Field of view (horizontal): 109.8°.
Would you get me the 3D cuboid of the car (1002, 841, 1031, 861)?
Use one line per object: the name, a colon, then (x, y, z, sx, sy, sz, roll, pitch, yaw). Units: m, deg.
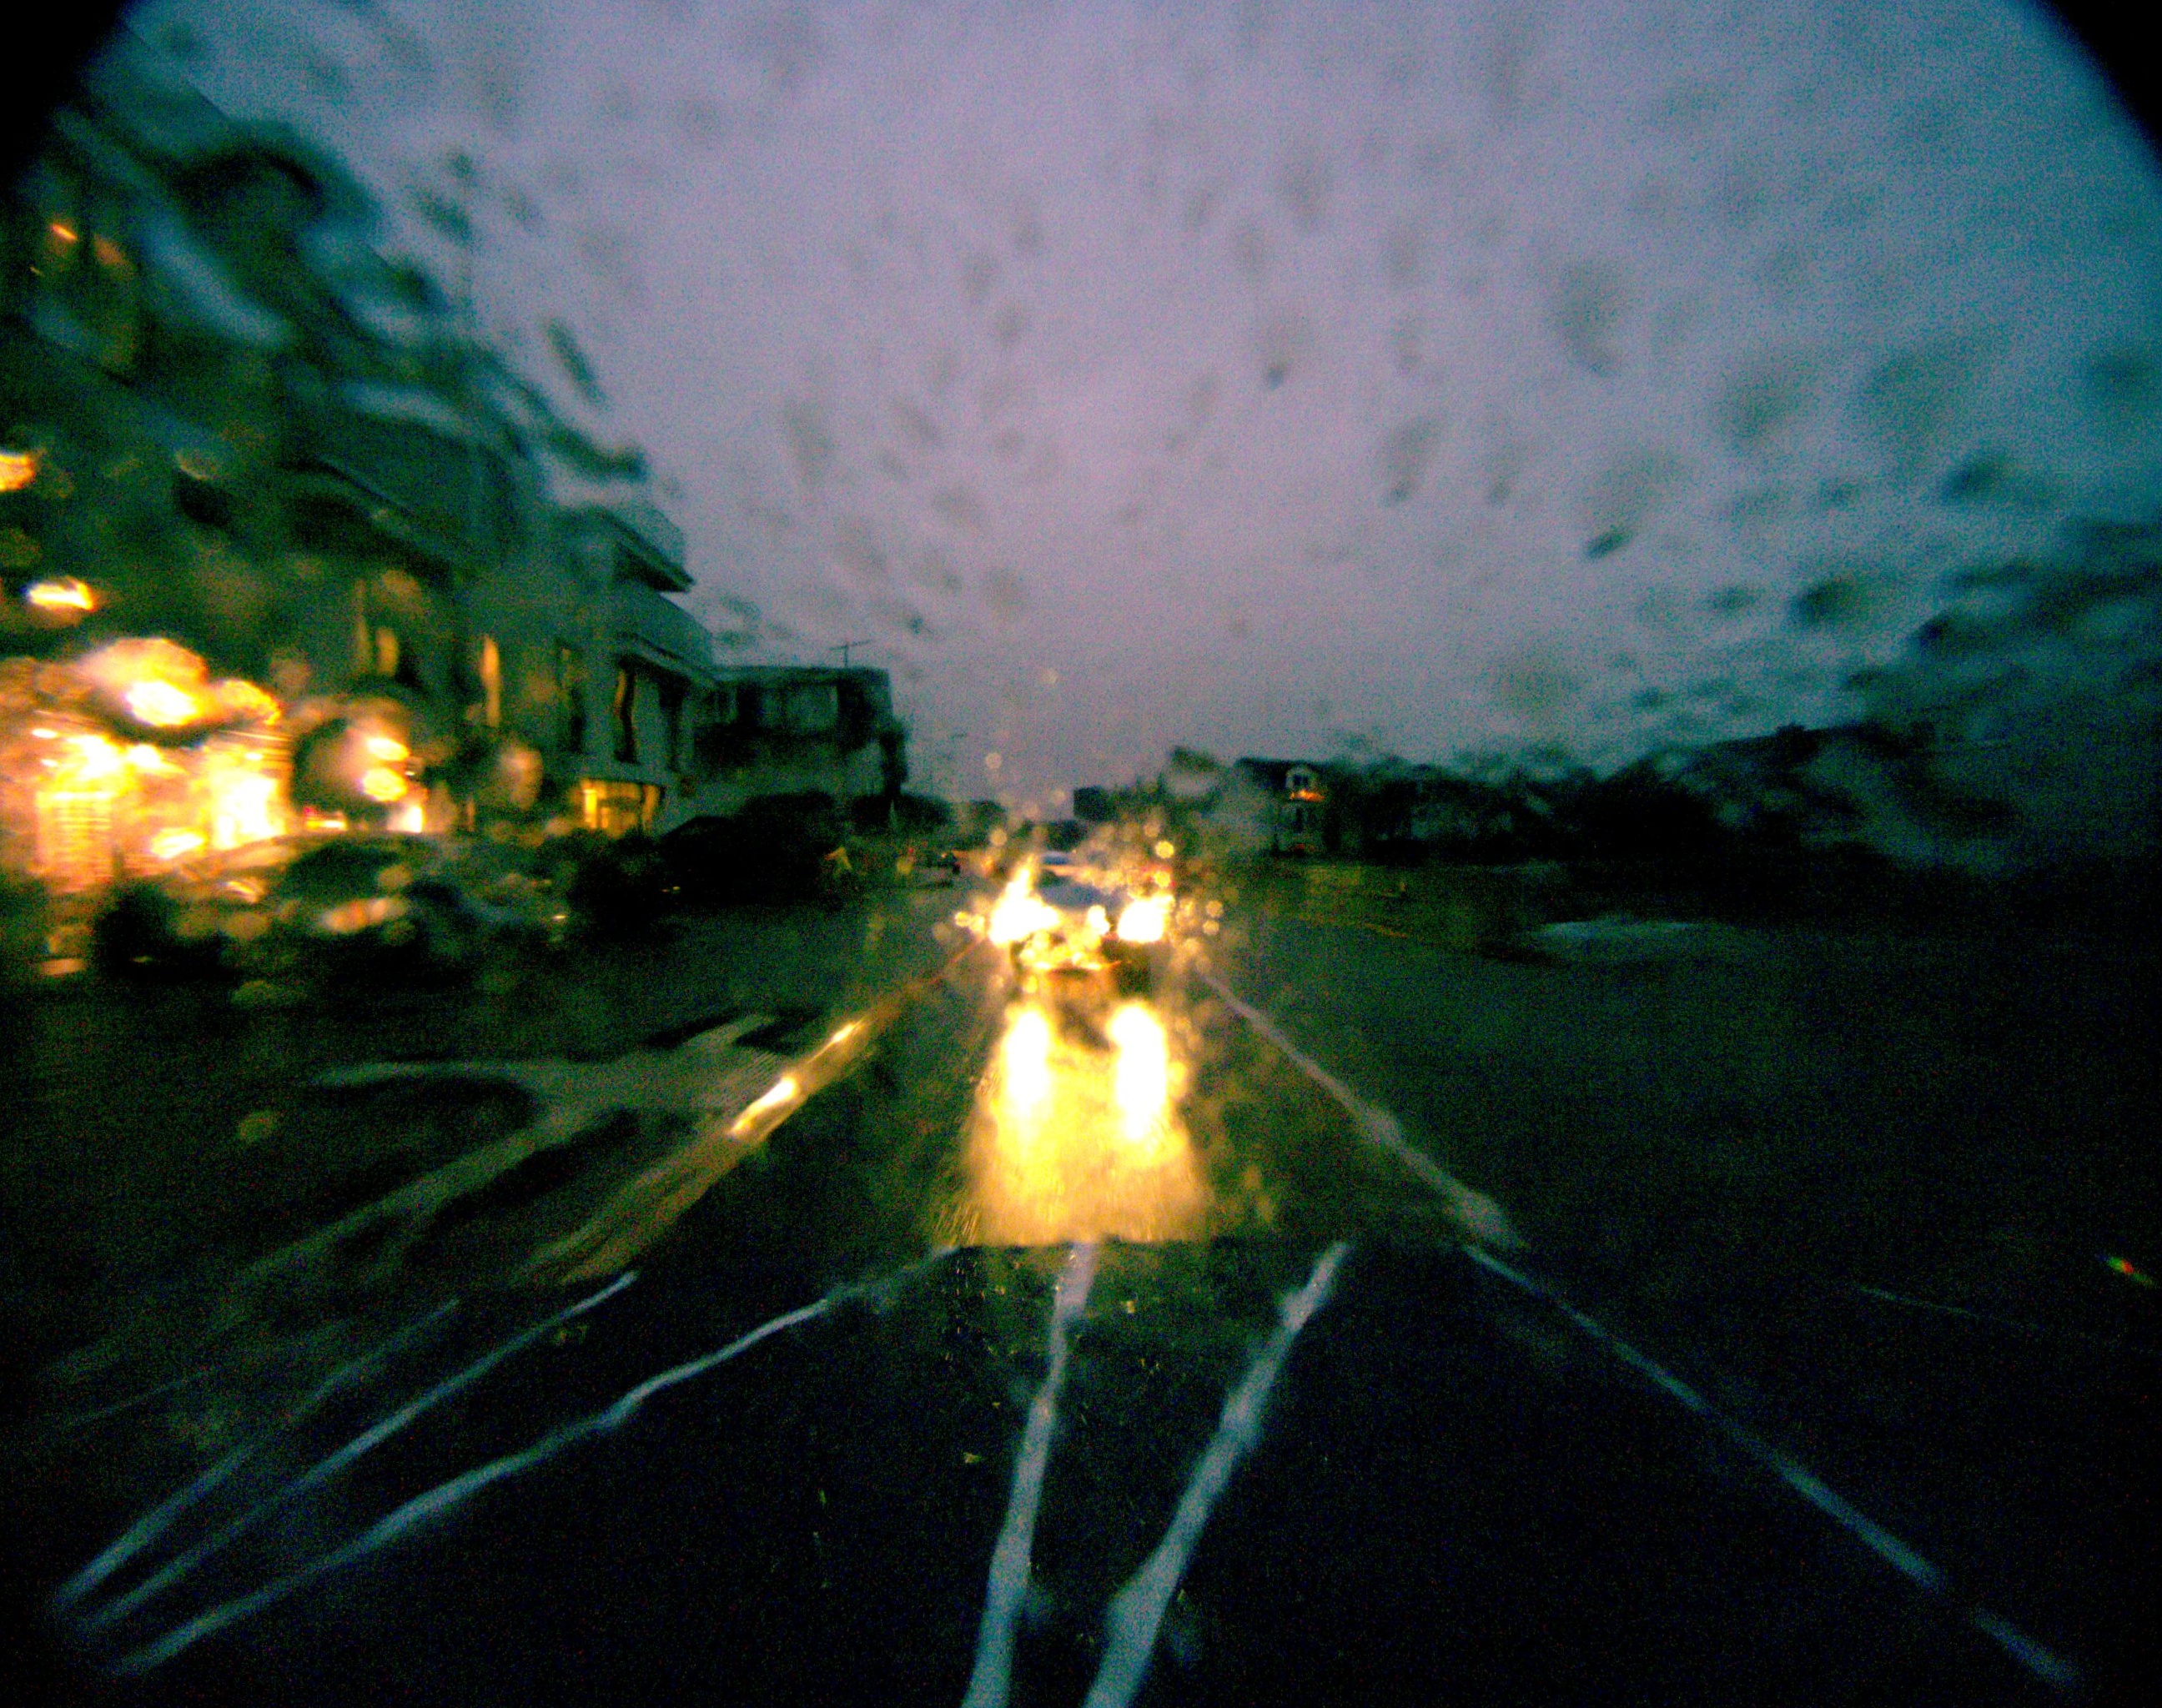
car: (-6.762, -0.306, 78.838, 2.002, 2.002, 3.992, -1, 1, -20)

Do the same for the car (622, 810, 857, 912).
car: (-7.910, 0.172, 18.022, 4.553, 1.922, 1.974, 5, 0, -6)

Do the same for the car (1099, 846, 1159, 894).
car: (1.903, 0.607, 31.476, 1.724, 1.802, 4.133, -1, 1, -7)

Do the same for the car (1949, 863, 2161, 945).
car: (22.611, 1.042, 16.878, 1.780, 1.560, 4.090, -1, 1, -8)

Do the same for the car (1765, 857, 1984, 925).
car: (22.013, 0.942, 21.324, 1.704, 1.651, 3.955, -1, 1, -11)

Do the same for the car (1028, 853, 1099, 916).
car: (-0.593, 0.794, 21.666, 1.682, 1.614, 3.998, 0, 0, -6)

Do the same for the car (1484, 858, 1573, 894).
car: (20.018, 0.946, 34.148, 1.479, 1.500, 3.499, 0, 1, -11)

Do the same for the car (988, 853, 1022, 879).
car: (-4.619, 0.674, 45.972, 1.742, 1.434, 3.996, -1, 1, -9)

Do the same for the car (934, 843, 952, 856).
car: (-21.416, -0.741, 117.882, 2.002, 2.002, 3.992, -1, 1, -20)

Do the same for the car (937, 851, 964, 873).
car: (-9.608, 0.563, 56.045, 1.849, 1.577, 3.766, 0, 0, -9)

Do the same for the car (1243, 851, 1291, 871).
car: (14.507, 0.511, 59.447, 1.801, 1.460, 4.251, 0, 1, -15)

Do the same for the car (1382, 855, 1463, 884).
car: (18.793, 0.793, 42.044, 1.801, 1.460, 4.251, 0, 1, -15)

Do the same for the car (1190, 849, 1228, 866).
car: (11.691, 0.286, 69.623, 1.678, 1.460, 4.010, 2, 0, -19)

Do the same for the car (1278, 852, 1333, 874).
car: (15.904, 0.607, 54.017, 1.801, 1.460, 4.251, 0, 1, -15)

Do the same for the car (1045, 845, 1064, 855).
car: (-4.068, -0.618, 115.076, 1.802, 1.460, 4.249, 0, 1, -19)

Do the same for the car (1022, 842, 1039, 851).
car: (-8.464, -1.287, 126.699, 1.802, 1.460, 4.249, 0, 1, -20)

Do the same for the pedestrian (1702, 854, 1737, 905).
pedestrian: (16.624, 0.654, 19.794, 0.512, 1.294, 0.601, -1, 1, -39)

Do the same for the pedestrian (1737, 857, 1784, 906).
pedestrian: (17.755, 0.702, 19.862, 0.693, 1.242, 0.602, 0, 1, -6)

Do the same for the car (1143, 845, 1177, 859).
car: (8.392, -0.190, 81.068, 1.802, 1.460, 4.608, 0, 1, -19)

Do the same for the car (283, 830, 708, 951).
car: (-8.229, 0.488, 11.127, 4.522, 1.484, 1.973, 2, 2, -8)

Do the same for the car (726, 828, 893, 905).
car: (-7.653, 0.348, 21.805, 4.153, 1.625, 1.752, 7, 0, -11)

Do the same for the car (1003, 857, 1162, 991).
car: (-0.096, 0.846, 11.109, 1.889, 1.569, 3.999, -1, 0, -4)

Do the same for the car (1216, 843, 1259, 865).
car: (13.152, 0.001, 64.134, 1.801, 1.816, 4.251, 0, 1, -15)

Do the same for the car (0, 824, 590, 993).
car: (-7.828, 0.548, 8.027, 4.001, 1.494, 1.811, 2, 0, -12)

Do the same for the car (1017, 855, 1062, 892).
car: (-1.813, 0.779, 32.261, 1.573, 1.460, 3.613, -2, 0, -8)

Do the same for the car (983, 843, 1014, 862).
car: (-7.287, -0.120, 66.621, 1.786, 1.612, 3.950, 0, 0, -20)
